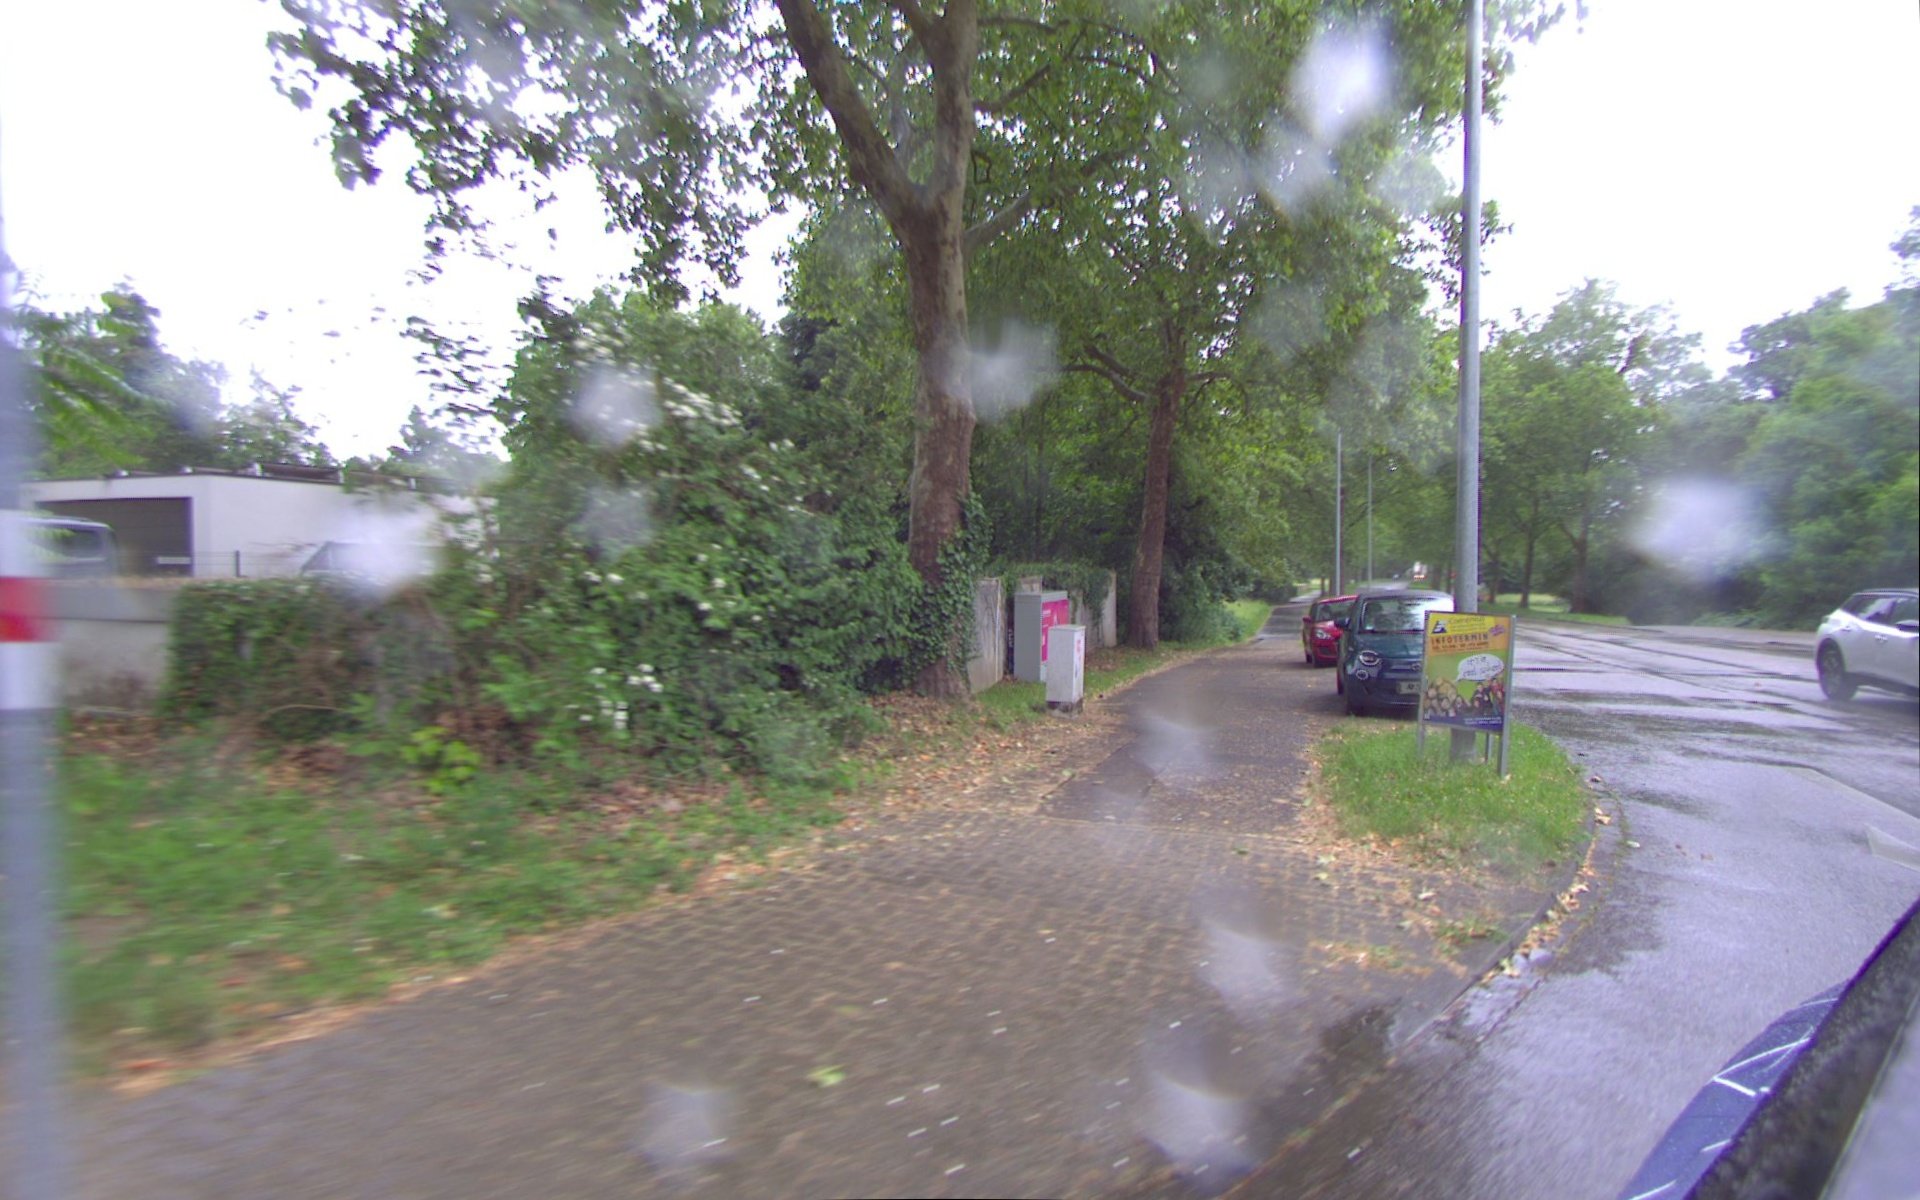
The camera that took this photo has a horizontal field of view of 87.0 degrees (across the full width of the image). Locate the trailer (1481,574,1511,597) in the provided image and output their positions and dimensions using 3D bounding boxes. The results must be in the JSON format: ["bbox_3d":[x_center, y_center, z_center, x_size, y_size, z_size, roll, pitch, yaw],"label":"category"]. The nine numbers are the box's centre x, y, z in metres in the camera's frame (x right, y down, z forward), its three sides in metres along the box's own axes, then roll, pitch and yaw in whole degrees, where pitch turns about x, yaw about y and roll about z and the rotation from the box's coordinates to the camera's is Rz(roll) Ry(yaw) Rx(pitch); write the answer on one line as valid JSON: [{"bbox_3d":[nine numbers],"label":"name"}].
[{"bbox_3d":[70.411,-1.927,133.058,2.777,2.696,6.601,2,3,23],"label":"trailer"}]

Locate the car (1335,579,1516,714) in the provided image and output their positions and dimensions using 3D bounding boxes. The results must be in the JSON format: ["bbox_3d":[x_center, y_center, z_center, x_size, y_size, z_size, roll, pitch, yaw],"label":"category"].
[{"bbox_3d":[5.966,0.517,13.367,1.732,1.510,3.579,-2,1,19],"label":"car"}]

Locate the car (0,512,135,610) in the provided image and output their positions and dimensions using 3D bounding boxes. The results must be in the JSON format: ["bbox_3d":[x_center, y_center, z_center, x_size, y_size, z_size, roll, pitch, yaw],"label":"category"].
[{"bbox_3d":[-15.306,-0.628,15.887,1.473,1.489,3.409,2,3,19],"label":"car"}]

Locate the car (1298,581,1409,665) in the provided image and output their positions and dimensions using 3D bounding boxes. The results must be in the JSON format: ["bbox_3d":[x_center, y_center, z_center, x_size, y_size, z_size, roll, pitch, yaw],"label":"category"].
[{"bbox_3d":[8.615,0.495,22.451,1.800,1.537,3.723,-6,-3,16],"label":"car"}]

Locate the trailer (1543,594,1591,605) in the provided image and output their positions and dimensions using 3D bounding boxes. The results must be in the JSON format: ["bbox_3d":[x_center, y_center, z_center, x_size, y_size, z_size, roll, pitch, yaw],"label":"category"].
[{"bbox_3d":[68.741,-0.030,114.676,4.279,1.045,2.366,2,3,22],"label":"trailer"}]

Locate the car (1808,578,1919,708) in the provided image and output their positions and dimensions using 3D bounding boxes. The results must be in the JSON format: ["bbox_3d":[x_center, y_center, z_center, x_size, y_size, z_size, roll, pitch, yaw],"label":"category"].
[{"bbox_3d":[12.533,0.535,12.413,1.735,1.555,4.342,2,1,18],"label":"car"}]
